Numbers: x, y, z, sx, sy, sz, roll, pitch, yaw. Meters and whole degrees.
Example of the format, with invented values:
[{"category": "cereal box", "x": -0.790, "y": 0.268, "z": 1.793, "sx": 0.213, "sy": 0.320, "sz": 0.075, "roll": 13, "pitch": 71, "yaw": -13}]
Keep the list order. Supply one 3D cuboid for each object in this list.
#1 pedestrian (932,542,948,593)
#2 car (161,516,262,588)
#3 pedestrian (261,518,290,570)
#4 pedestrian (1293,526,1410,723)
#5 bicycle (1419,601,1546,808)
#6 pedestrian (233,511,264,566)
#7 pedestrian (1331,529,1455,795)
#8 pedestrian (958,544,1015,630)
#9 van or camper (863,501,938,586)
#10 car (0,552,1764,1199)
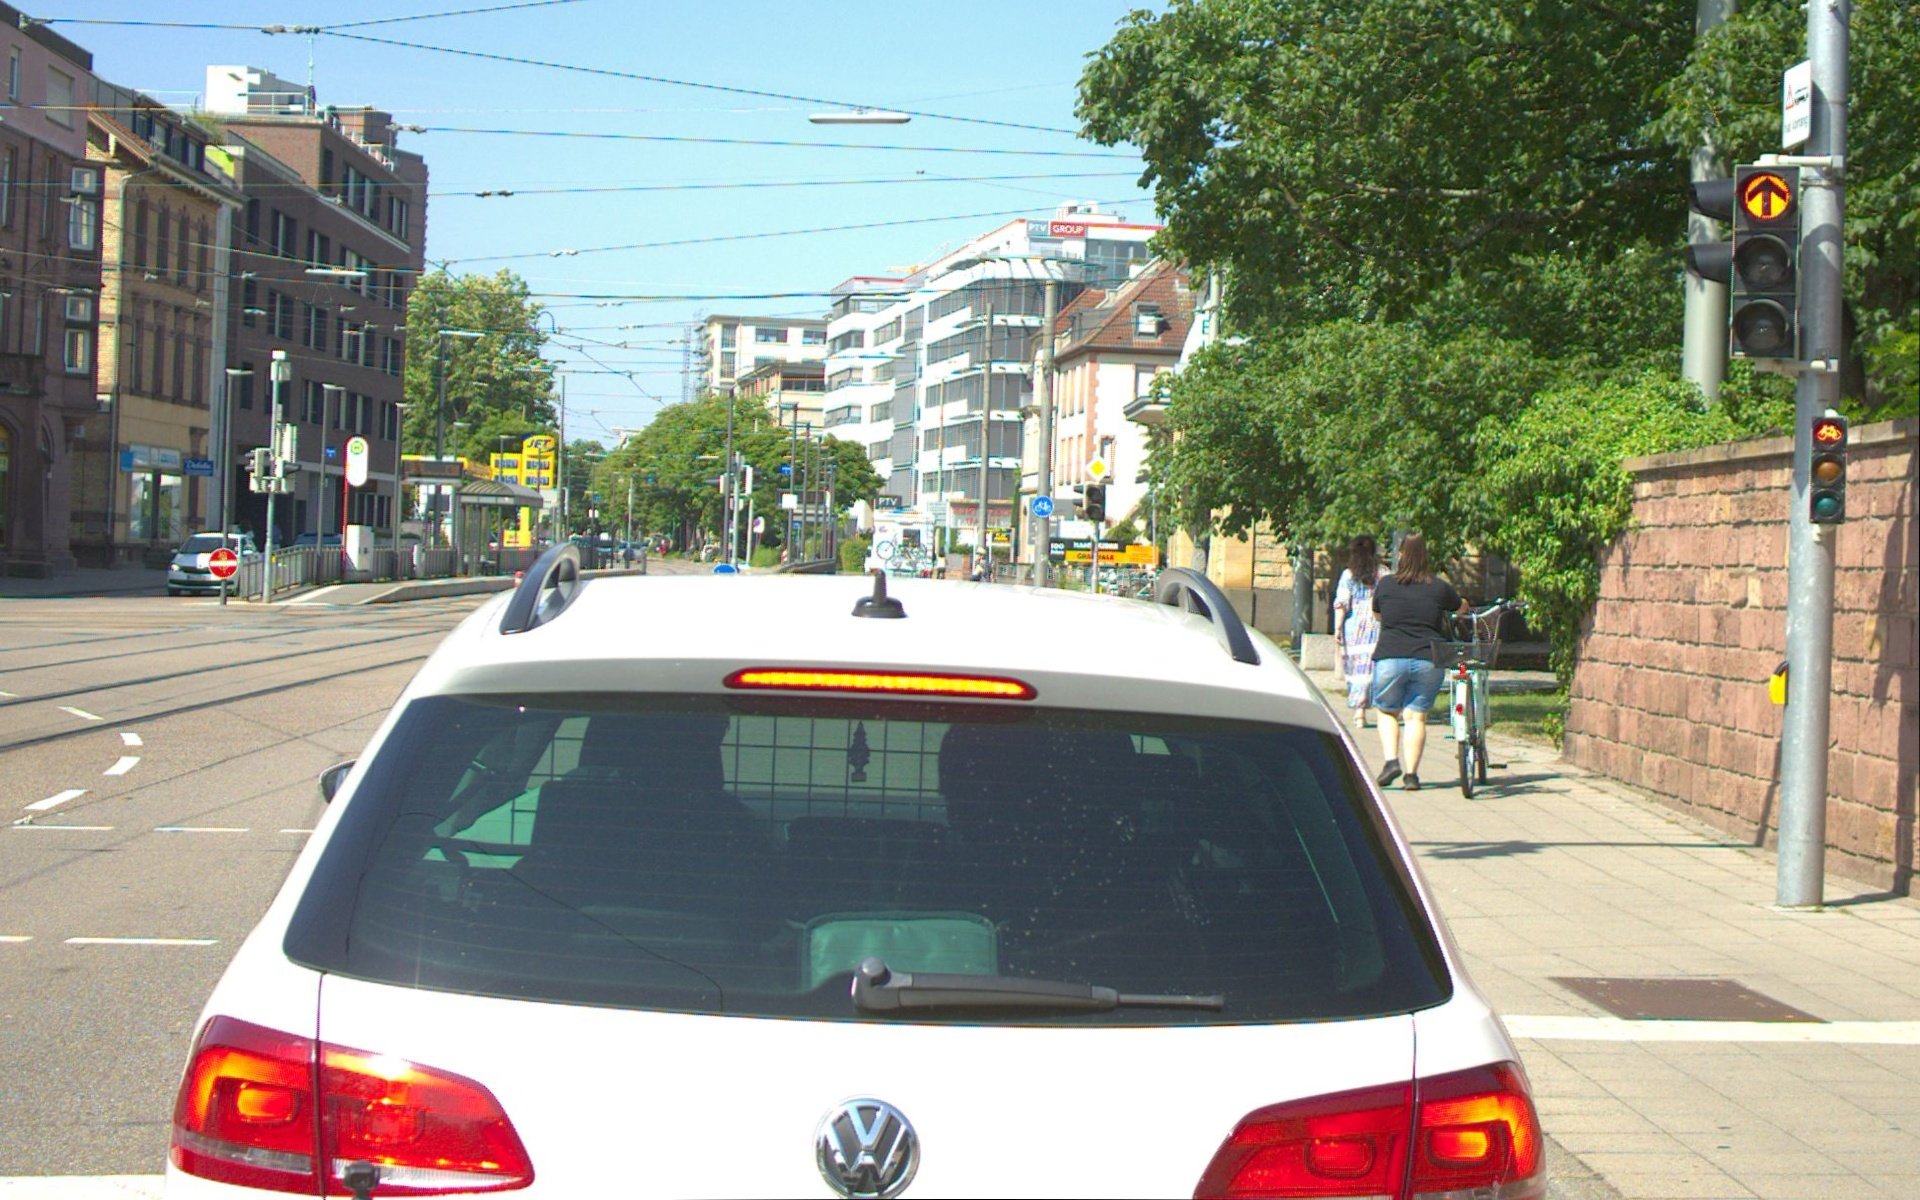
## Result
[{"category": "pedestrian", "x": -0.905, "y": -1.470, "z": 157.313, "sx": 0.690, "sy": 2.317, "sz": 1.232, "roll": 0, "pitch": 0, "yaw": 1}, {"category": "car", "x": -17.467, "y": -1.104, "z": 80.374, "sx": 1.740, "sy": 1.612, "sz": 4.000, "roll": 0, "pitch": 0, "yaw": -4}, {"category": "pedestrian", "x": -23.190, "y": -1.901, "z": 116.532, "sx": 0.861, "sy": 1.737, "sz": 0.975, "roll": 0, "pitch": 0, "yaw": -6}, {"category": "pedestrian", "x": 3.335, "y": 0.206, "z": 29.387, "sx": 0.953, "sy": 1.645, "sz": 0.975, "roll": 0, "pitch": 0, "yaw": 5}, {"category": "bicycle", "x": 3.179, "y": 0.603, "z": 20.828, "sx": 0.708, "sy": 1.086, "sz": 2.025, "roll": 1, "pitch": 3, "yaw": 9}, {"category": "pedestrian", "x": -22.703, "y": -1.964, "z": 109.642, "sx": 0.861, "sy": 1.737, "sz": 0.975, "roll": 0, "pitch": 0, "yaw": -6}, {"category": "pedestrian", "x": 2.640, "y": 0.361, "z": 20.929, "sx": 0.673, "sy": 1.566, "sz": 0.748, "roll": 1, "pitch": 2, "yaw": 11}, {"category": "pedestrian", "x": 0.544, "y": -0.264, "z": 69.586, "sx": 0.972, "sy": 1.737, "sz": 0.864, "roll": 0, "pitch": 0, "yaw": 14}, {"category": "van or camper", "x": -2.252, "y": -2.092, "z": 129.206, "sx": 2.566, "sy": 3.082, "sz": 5.703, "roll": 0, "pitch": 0, "yaw": -3}, {"category": "car", "x": -0.143, "y": 0.678, "z": 5.466, "sx": 1.808, "sy": 1.443, "sz": 4.000, "roll": 2, "pitch": 1, "yaw": -1}]
